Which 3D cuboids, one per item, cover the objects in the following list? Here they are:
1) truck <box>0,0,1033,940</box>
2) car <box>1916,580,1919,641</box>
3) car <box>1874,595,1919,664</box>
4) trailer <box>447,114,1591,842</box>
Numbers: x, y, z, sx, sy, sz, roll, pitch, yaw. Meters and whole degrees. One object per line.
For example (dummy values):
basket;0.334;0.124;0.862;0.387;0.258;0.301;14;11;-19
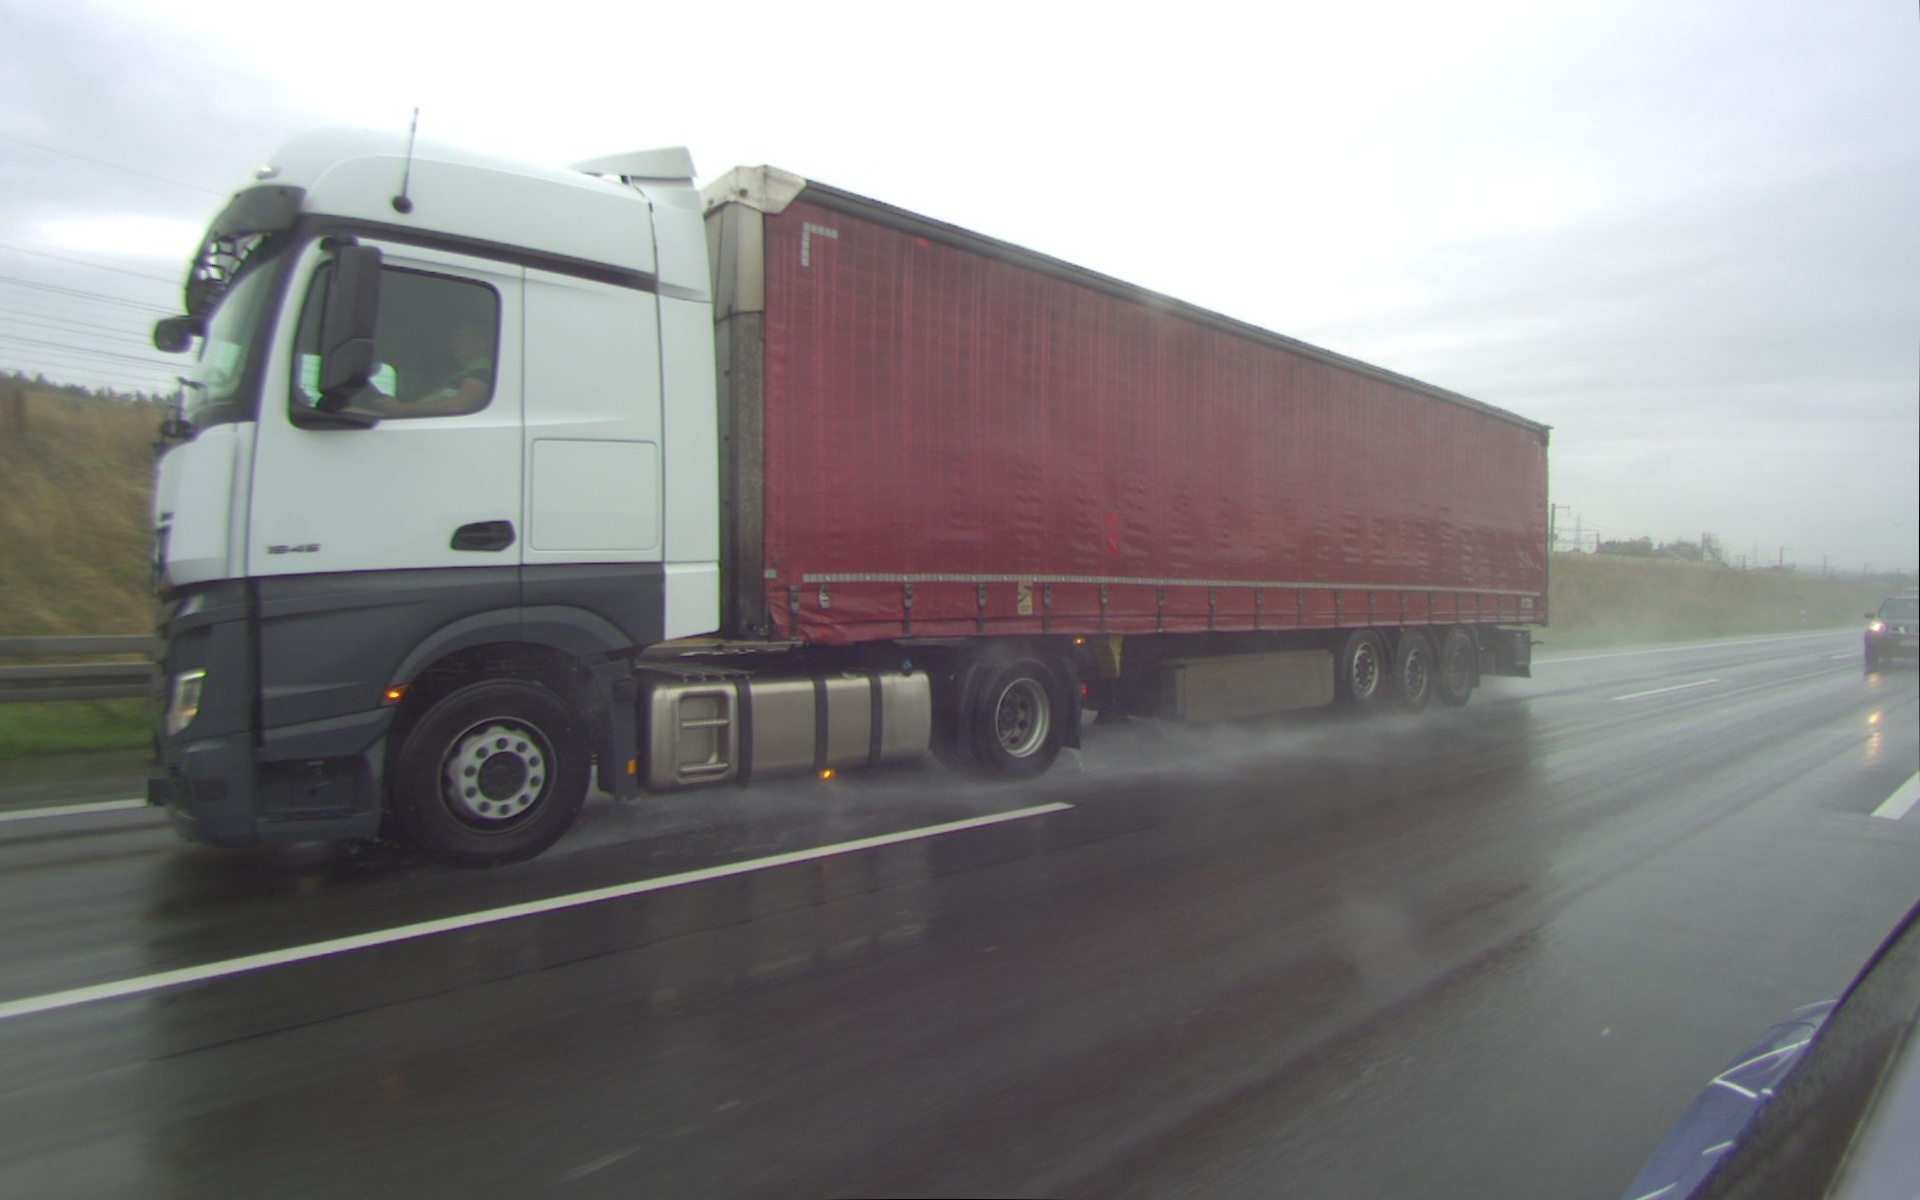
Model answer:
truck;-2.536;-0.697;6.510;6.091;3.938;2.456;0;0;-41
car;27.336;0.277;27.671;3.132;1.636;1.516;0;1;-42
car;23.073;0.662;23.976;3.769;1.519;1.662;-1;1;-41
trailer;3.220;-0.715;11.673;16.260;3.813;2.483;-1;0;-42
